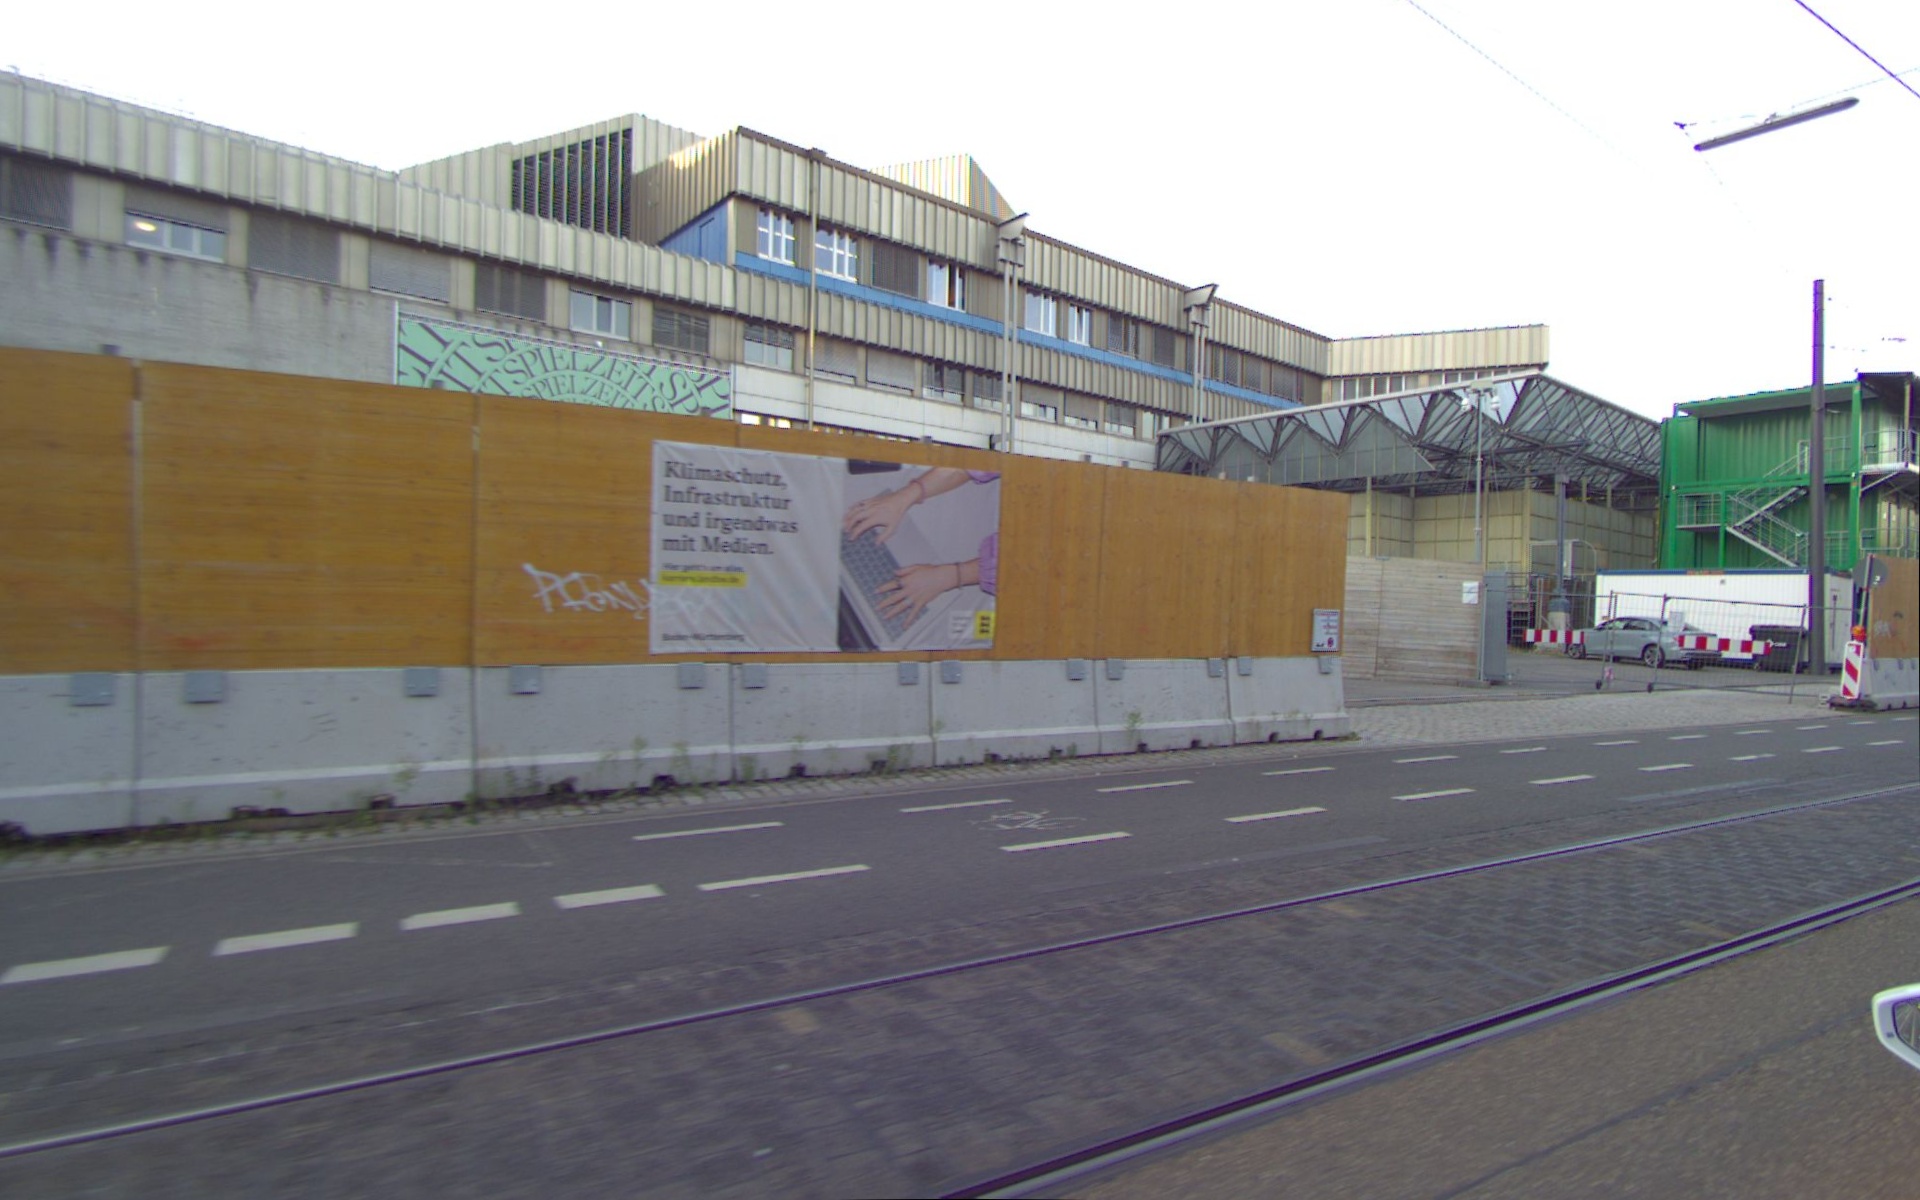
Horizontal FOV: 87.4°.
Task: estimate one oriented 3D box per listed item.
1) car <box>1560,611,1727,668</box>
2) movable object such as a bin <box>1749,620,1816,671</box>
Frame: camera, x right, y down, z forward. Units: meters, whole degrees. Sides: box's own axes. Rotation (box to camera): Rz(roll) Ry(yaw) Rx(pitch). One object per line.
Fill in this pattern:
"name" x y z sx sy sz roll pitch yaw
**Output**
"car" 20.470 1.149 30.294 1.707 1.421 3.994 1 2 -15
"movable object such as a bin" 23.659 1.303 28.909 0.776 1.388 1.298 1 0 -33
